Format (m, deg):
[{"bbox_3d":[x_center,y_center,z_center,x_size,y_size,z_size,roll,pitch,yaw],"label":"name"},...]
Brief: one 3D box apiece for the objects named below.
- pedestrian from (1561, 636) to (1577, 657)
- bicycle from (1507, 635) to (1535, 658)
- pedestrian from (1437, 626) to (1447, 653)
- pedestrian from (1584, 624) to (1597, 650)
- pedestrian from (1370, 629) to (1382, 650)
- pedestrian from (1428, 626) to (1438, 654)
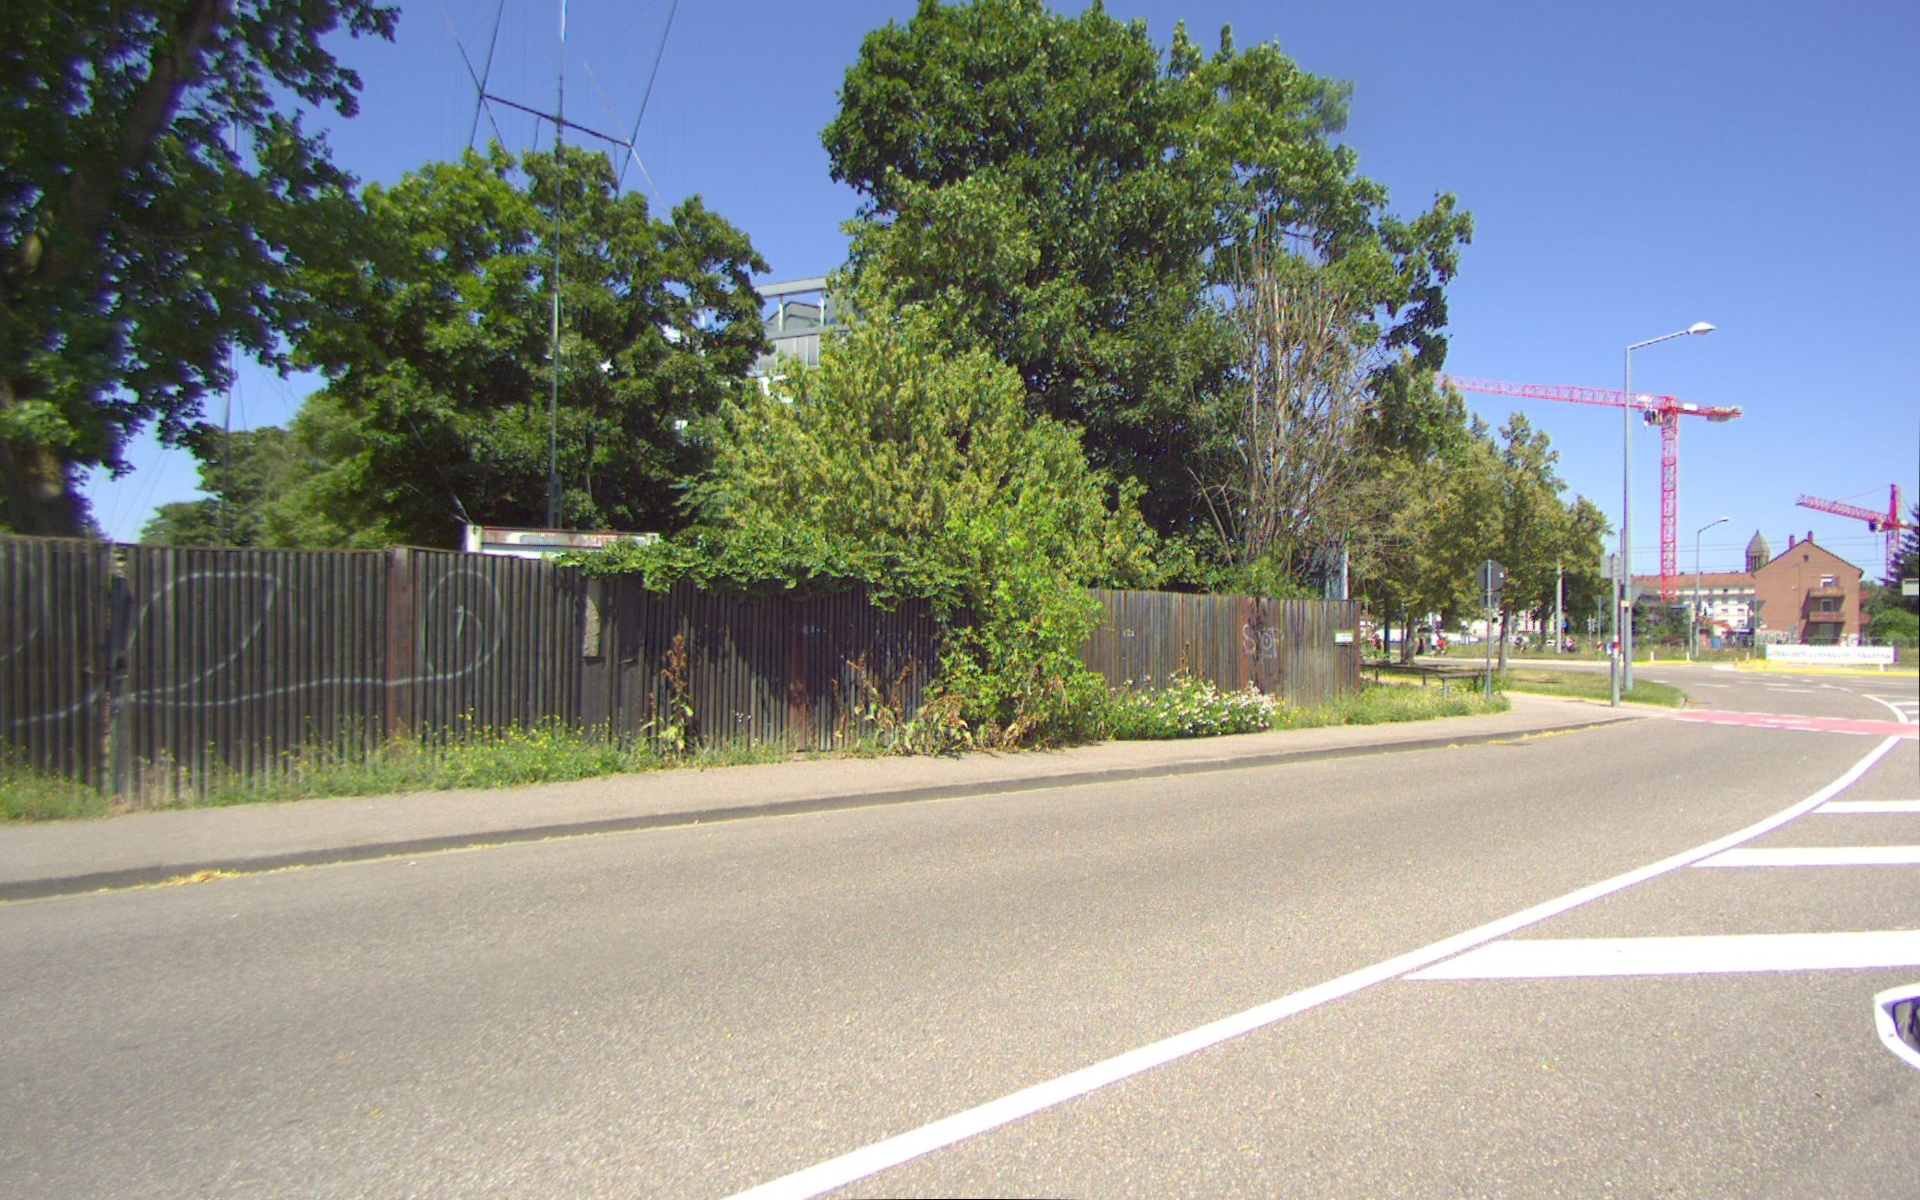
[{"bbox_3d":[49.012,3.739,80.870,0.749,1.661,0.778,2,0,-17],"label":"pedestrian"},{"bbox_3d":[42.480,3.531,76.096,2.052,1.707,0.558,2,0,-17],"label":"bicycle"},{"bbox_3d":[34.546,2.816,71.978,0.617,1.960,0.646,0,-1,26],"label":"pedestrian"},{"bbox_3d":[50.490,2.992,80.438,0.588,2.040,0.598,2,0,-30],"label":"pedestrian"},{"bbox_3d":[28.557,2.706,68.934,0.589,1.425,0.540,1,-1,-27],"label":"pedestrian"},{"bbox_3d":[33.702,2.860,71.598,0.617,1.960,0.646,0,-1,26],"label":"pedestrian"}]
